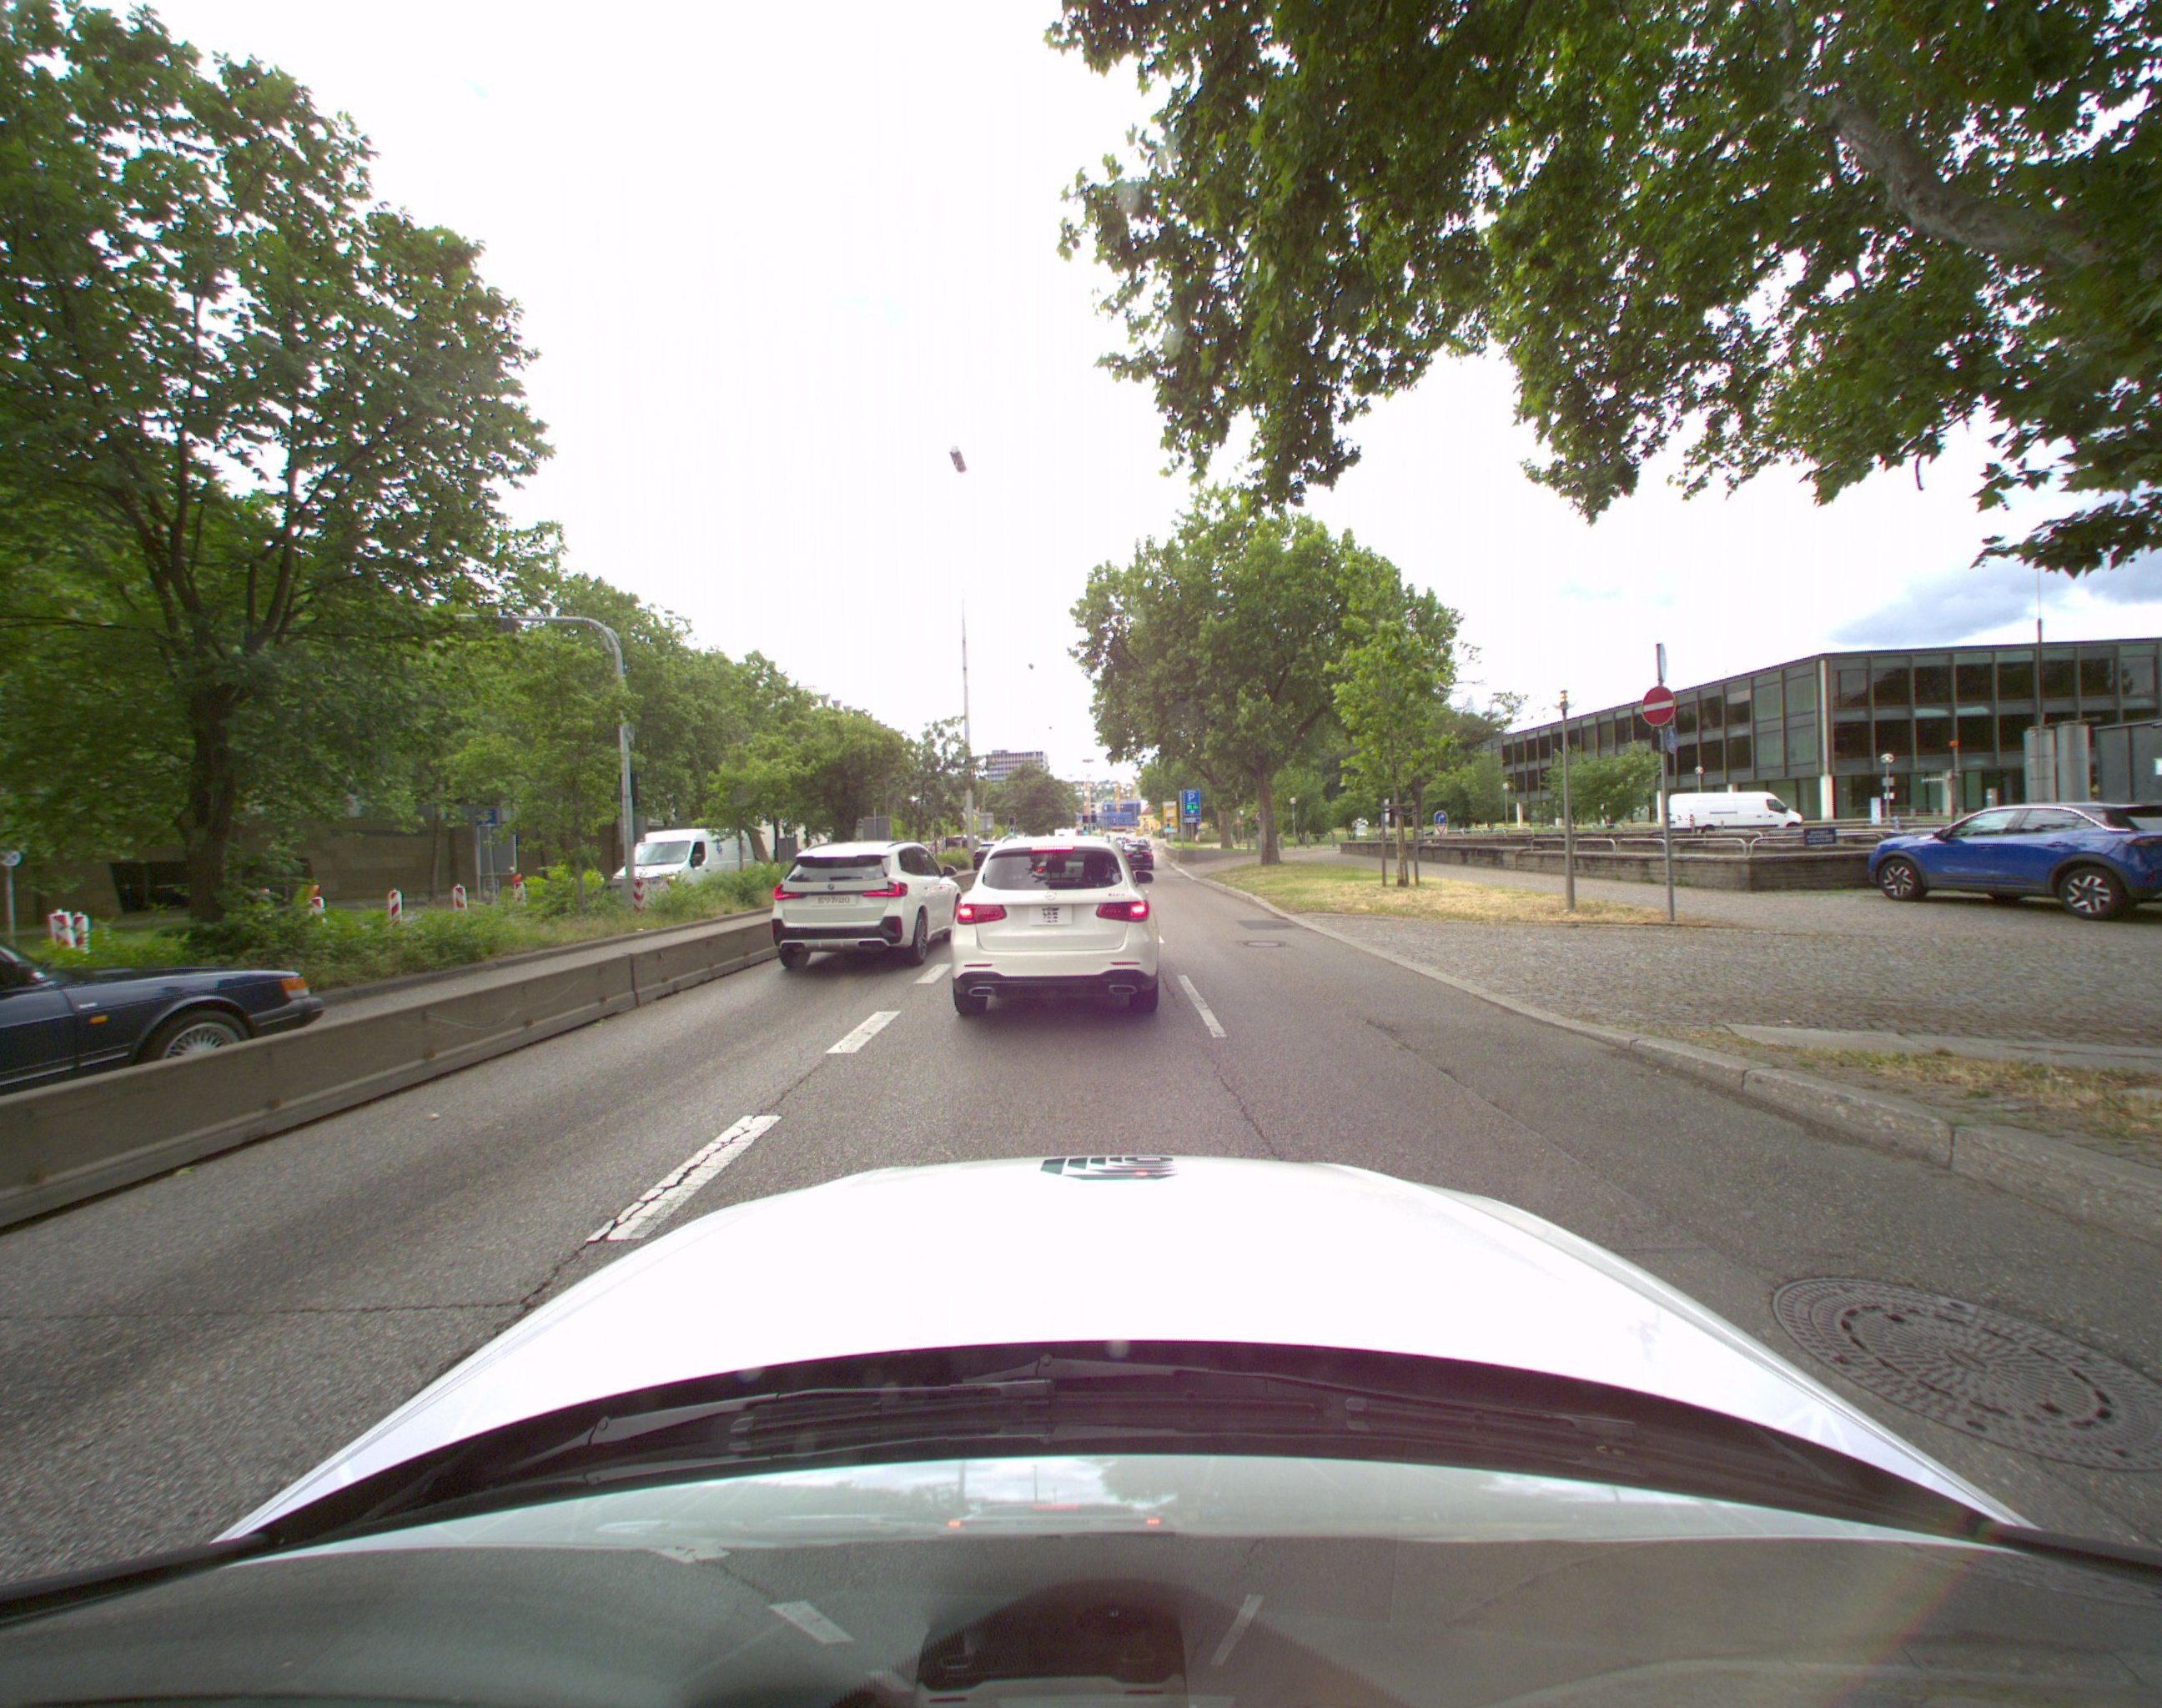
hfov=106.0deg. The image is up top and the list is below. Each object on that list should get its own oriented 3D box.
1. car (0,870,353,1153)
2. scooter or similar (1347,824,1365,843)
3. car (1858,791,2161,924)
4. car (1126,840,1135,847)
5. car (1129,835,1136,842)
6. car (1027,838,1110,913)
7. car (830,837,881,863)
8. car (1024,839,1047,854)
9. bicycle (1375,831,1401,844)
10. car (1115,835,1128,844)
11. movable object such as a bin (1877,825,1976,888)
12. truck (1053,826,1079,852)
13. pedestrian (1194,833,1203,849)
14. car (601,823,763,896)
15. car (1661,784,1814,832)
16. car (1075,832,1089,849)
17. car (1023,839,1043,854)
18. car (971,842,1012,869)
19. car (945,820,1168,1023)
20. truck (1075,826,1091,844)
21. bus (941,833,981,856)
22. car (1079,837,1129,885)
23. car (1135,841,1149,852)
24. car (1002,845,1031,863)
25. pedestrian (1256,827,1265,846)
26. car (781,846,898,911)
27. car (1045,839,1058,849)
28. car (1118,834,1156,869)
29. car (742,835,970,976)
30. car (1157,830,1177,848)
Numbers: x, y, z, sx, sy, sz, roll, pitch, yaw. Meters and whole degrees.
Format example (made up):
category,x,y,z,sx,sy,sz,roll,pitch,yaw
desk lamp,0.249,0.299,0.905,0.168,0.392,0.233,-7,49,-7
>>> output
category,x,y,z,sx,sy,sz,roll,pitch,yaw
car,-6.360,0.873,3.821,1.672,1.366,4.544,-2,1,1
scooter or similar,18.064,-1.321,53.538,0.633,1.245,2.228,0,0,4
car,13.842,-0.073,11.680,1.752,1.551,4.032,-2,3,4
car,10.190,-2.188,167.864,1.939,1.319,4.020,-1,1,3
car,12.942,-3.998,205.191,1.752,1.668,4.170,-2,1,2
car,-0.370,0.450,19.852,1.792,1.608,3.751,-1,1,-3
car,-13.358,-0.294,48.458,1.769,1.420,4.002,-2,1,2
car,-4.280,-0.709,76.612,1.651,1.319,3.552,-1,1,5
bicycle,22.630,-1.202,60.027,0.950,0.975,2.788,0,0,1
car,6.528,-2.292,131.165,1.939,1.319,4.020,-1,1,3
movable object such as a bin,15.317,0.031,14.774,1.004,1.064,0.770,-2,4,-1
truck,-1.715,-1.764,95.725,2.611,2.861,7.081,-1,1,1
pedestrian,14.865,-1.623,103.098,0.752,2.013,0.703,-2,1,37
car,-12.240,0.100,25.549,2.108,1.969,5.581,-2,1,2
car,34.958,-2.430,43.524,6.081,2.260,2.404,-2,1,3
car,0.156,-2.128,128.673,1.986,2.475,4.002,-2,1,2
car,-4.993,-0.763,85.541,1.652,1.513,3.550,-2,1,2
car,-5.122,0.060,46.988,1.769,1.420,4.002,-2,1,2
car,-0.145,0.542,8.828,1.781,1.625,4.438,-1,0,1
truck,0.369,-3.109,135.302,2.682,2.991,5.638,0,0,1
bus,-17.652,-1.445,121.261,3.655,3.205,14.273,-2,1,0
car,0.810,0.240,30.339,1.654,1.639,3.546,-1,1,-1
car,8.831,-1.062,117.573,1.939,1.428,4.020,-1,1,3
car,-4.954,-0.027,62.555,1.651,1.319,3.552,-1,1,5
pedestrian,16.603,-1.652,75.290,0.754,1.724,0.701,-2,1,9
car,-5.923,0.540,20.471,1.655,1.436,3.961,-1,0,1
car,-4.327,-1.473,119.053,1.652,1.319,3.550,-1,1,3
car,3.022,-0.149,44.316,1.818,1.752,4.001,-2,1,1
car,-2.986,0.595,12.052,1.844,1.628,4.909,-1,0,2
car,9.699,-1.687,92.338,1.985,2.013,4.003,-1,1,3
